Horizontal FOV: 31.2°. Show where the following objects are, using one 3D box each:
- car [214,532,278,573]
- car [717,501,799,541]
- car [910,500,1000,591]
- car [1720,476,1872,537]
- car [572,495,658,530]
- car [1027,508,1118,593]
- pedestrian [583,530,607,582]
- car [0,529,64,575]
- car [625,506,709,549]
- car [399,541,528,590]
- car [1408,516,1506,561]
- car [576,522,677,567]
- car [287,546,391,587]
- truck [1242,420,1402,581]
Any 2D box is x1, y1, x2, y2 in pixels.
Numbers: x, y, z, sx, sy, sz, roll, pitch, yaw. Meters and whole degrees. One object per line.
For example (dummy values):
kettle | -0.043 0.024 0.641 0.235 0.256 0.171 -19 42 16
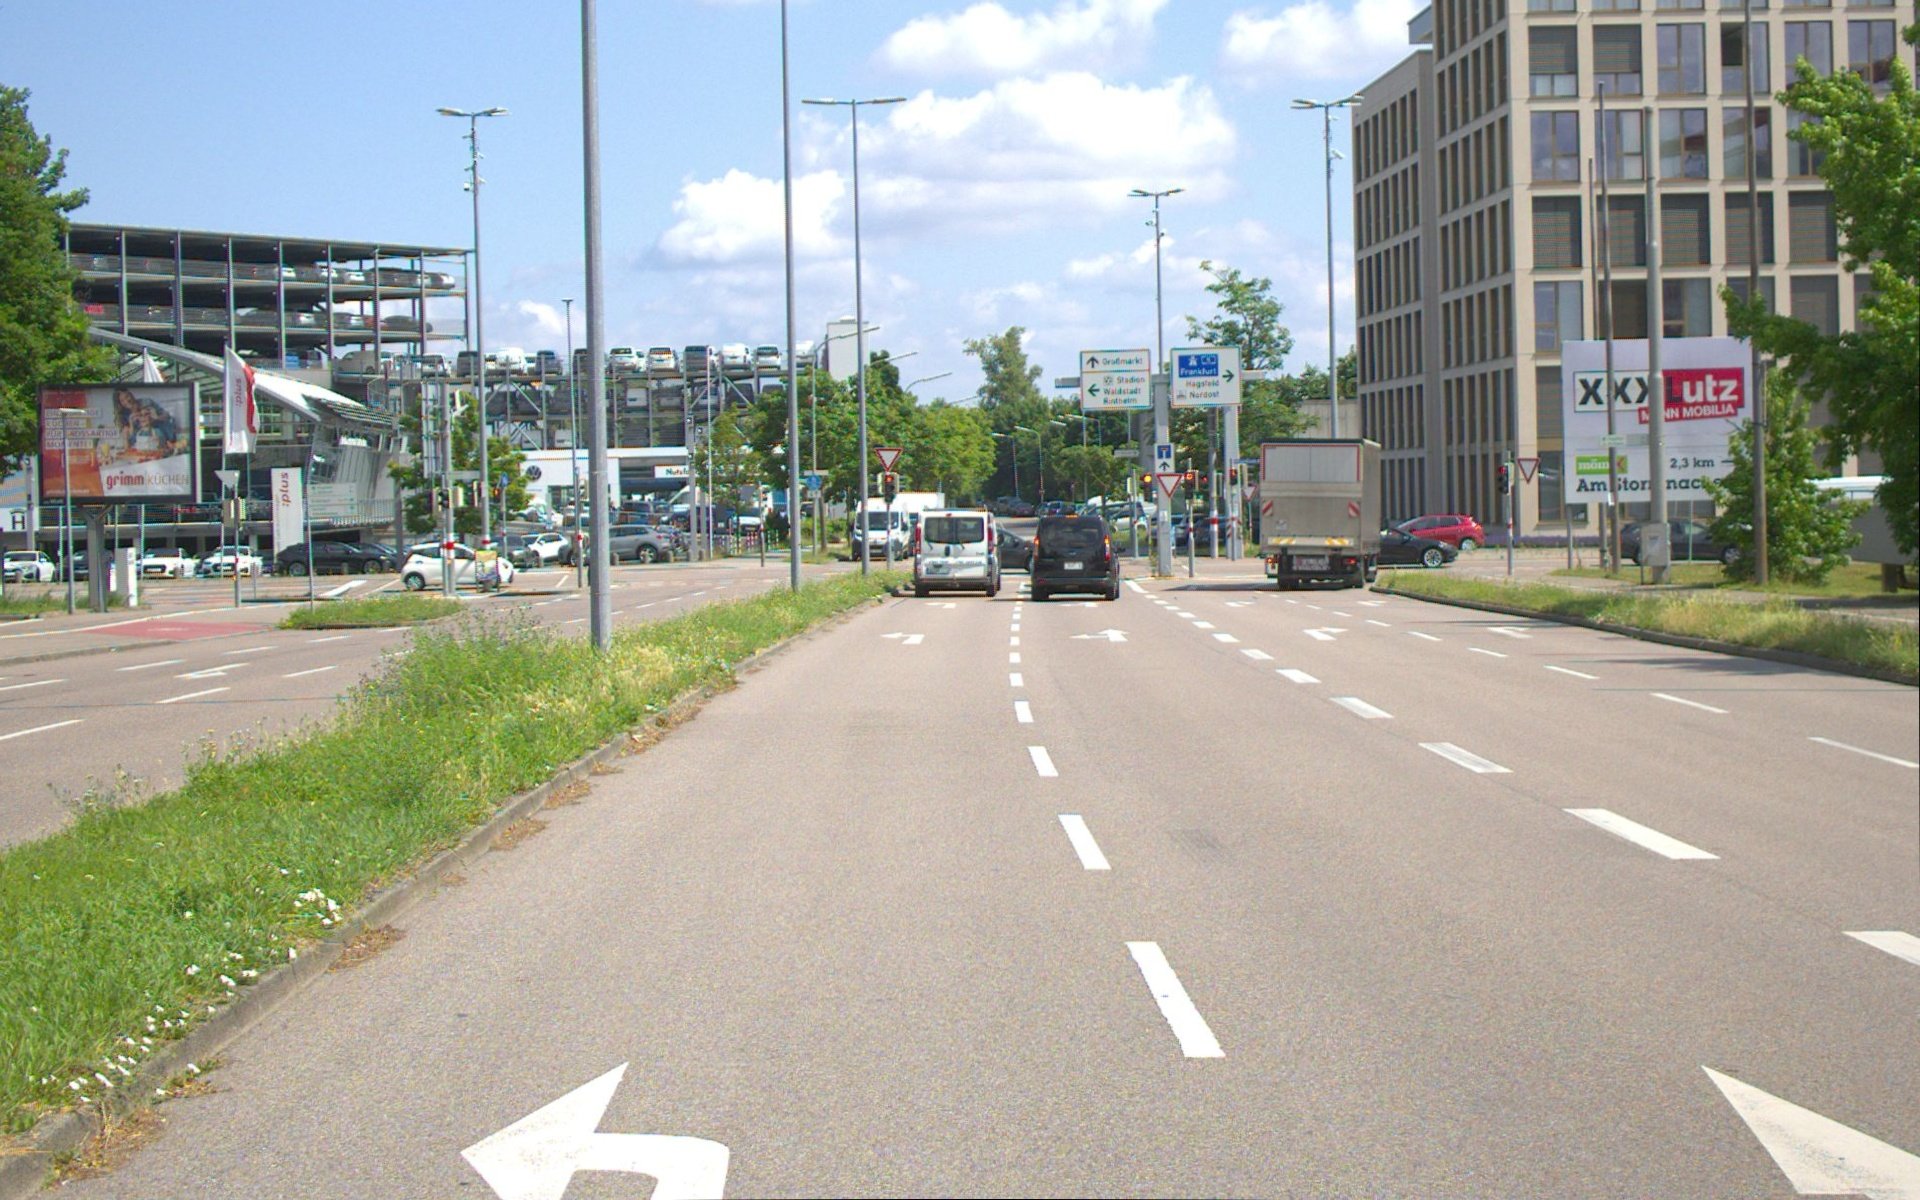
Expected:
car | -27.375 -1.838 131.957 1.776 1.445 4.030 -1 2 -3
car | -10.019 -3.910 169.987 3.986 1.919 1.827 0 1 -5
car | -0.084 -1.291 79.652 1.856 2.011 4.000 0 2 3
car | 31.805 -3.569 130.933 5.499 2.247 1.999 0 2 10
car | -16.988 -4.309 169.180 4.164 1.707 1.689 0 2 -4
car | 2.464 -1.097 74.674 1.820 1.802 4.000 0 1 4
pedestrian | -10.622 -1.286 99.983 0.470 1.507 0.511 0 1 26
car | -35.402 -1.839 130.963 1.756 1.654 3.617 -1 2 -3
car | -12.737 -3.156 149.480 3.507 1.707 1.604 -2 2 -2
car | -15.515 -1.080 107.646 3.850 1.461 1.696 -1 2 -3
car | 17.787 -2.205 123.036 3.272 1.400 1.334 -1 10 -1
car | -13.412 -2.245 138.300 3.861 1.634 1.858 -2 2 -2
car | -23.937 -1.294 132.614 3.791 1.508 1.679 -1 2 -4
truck | 9.444 -2.602 88.725 3.131 3.927 8.854 0 2 12
